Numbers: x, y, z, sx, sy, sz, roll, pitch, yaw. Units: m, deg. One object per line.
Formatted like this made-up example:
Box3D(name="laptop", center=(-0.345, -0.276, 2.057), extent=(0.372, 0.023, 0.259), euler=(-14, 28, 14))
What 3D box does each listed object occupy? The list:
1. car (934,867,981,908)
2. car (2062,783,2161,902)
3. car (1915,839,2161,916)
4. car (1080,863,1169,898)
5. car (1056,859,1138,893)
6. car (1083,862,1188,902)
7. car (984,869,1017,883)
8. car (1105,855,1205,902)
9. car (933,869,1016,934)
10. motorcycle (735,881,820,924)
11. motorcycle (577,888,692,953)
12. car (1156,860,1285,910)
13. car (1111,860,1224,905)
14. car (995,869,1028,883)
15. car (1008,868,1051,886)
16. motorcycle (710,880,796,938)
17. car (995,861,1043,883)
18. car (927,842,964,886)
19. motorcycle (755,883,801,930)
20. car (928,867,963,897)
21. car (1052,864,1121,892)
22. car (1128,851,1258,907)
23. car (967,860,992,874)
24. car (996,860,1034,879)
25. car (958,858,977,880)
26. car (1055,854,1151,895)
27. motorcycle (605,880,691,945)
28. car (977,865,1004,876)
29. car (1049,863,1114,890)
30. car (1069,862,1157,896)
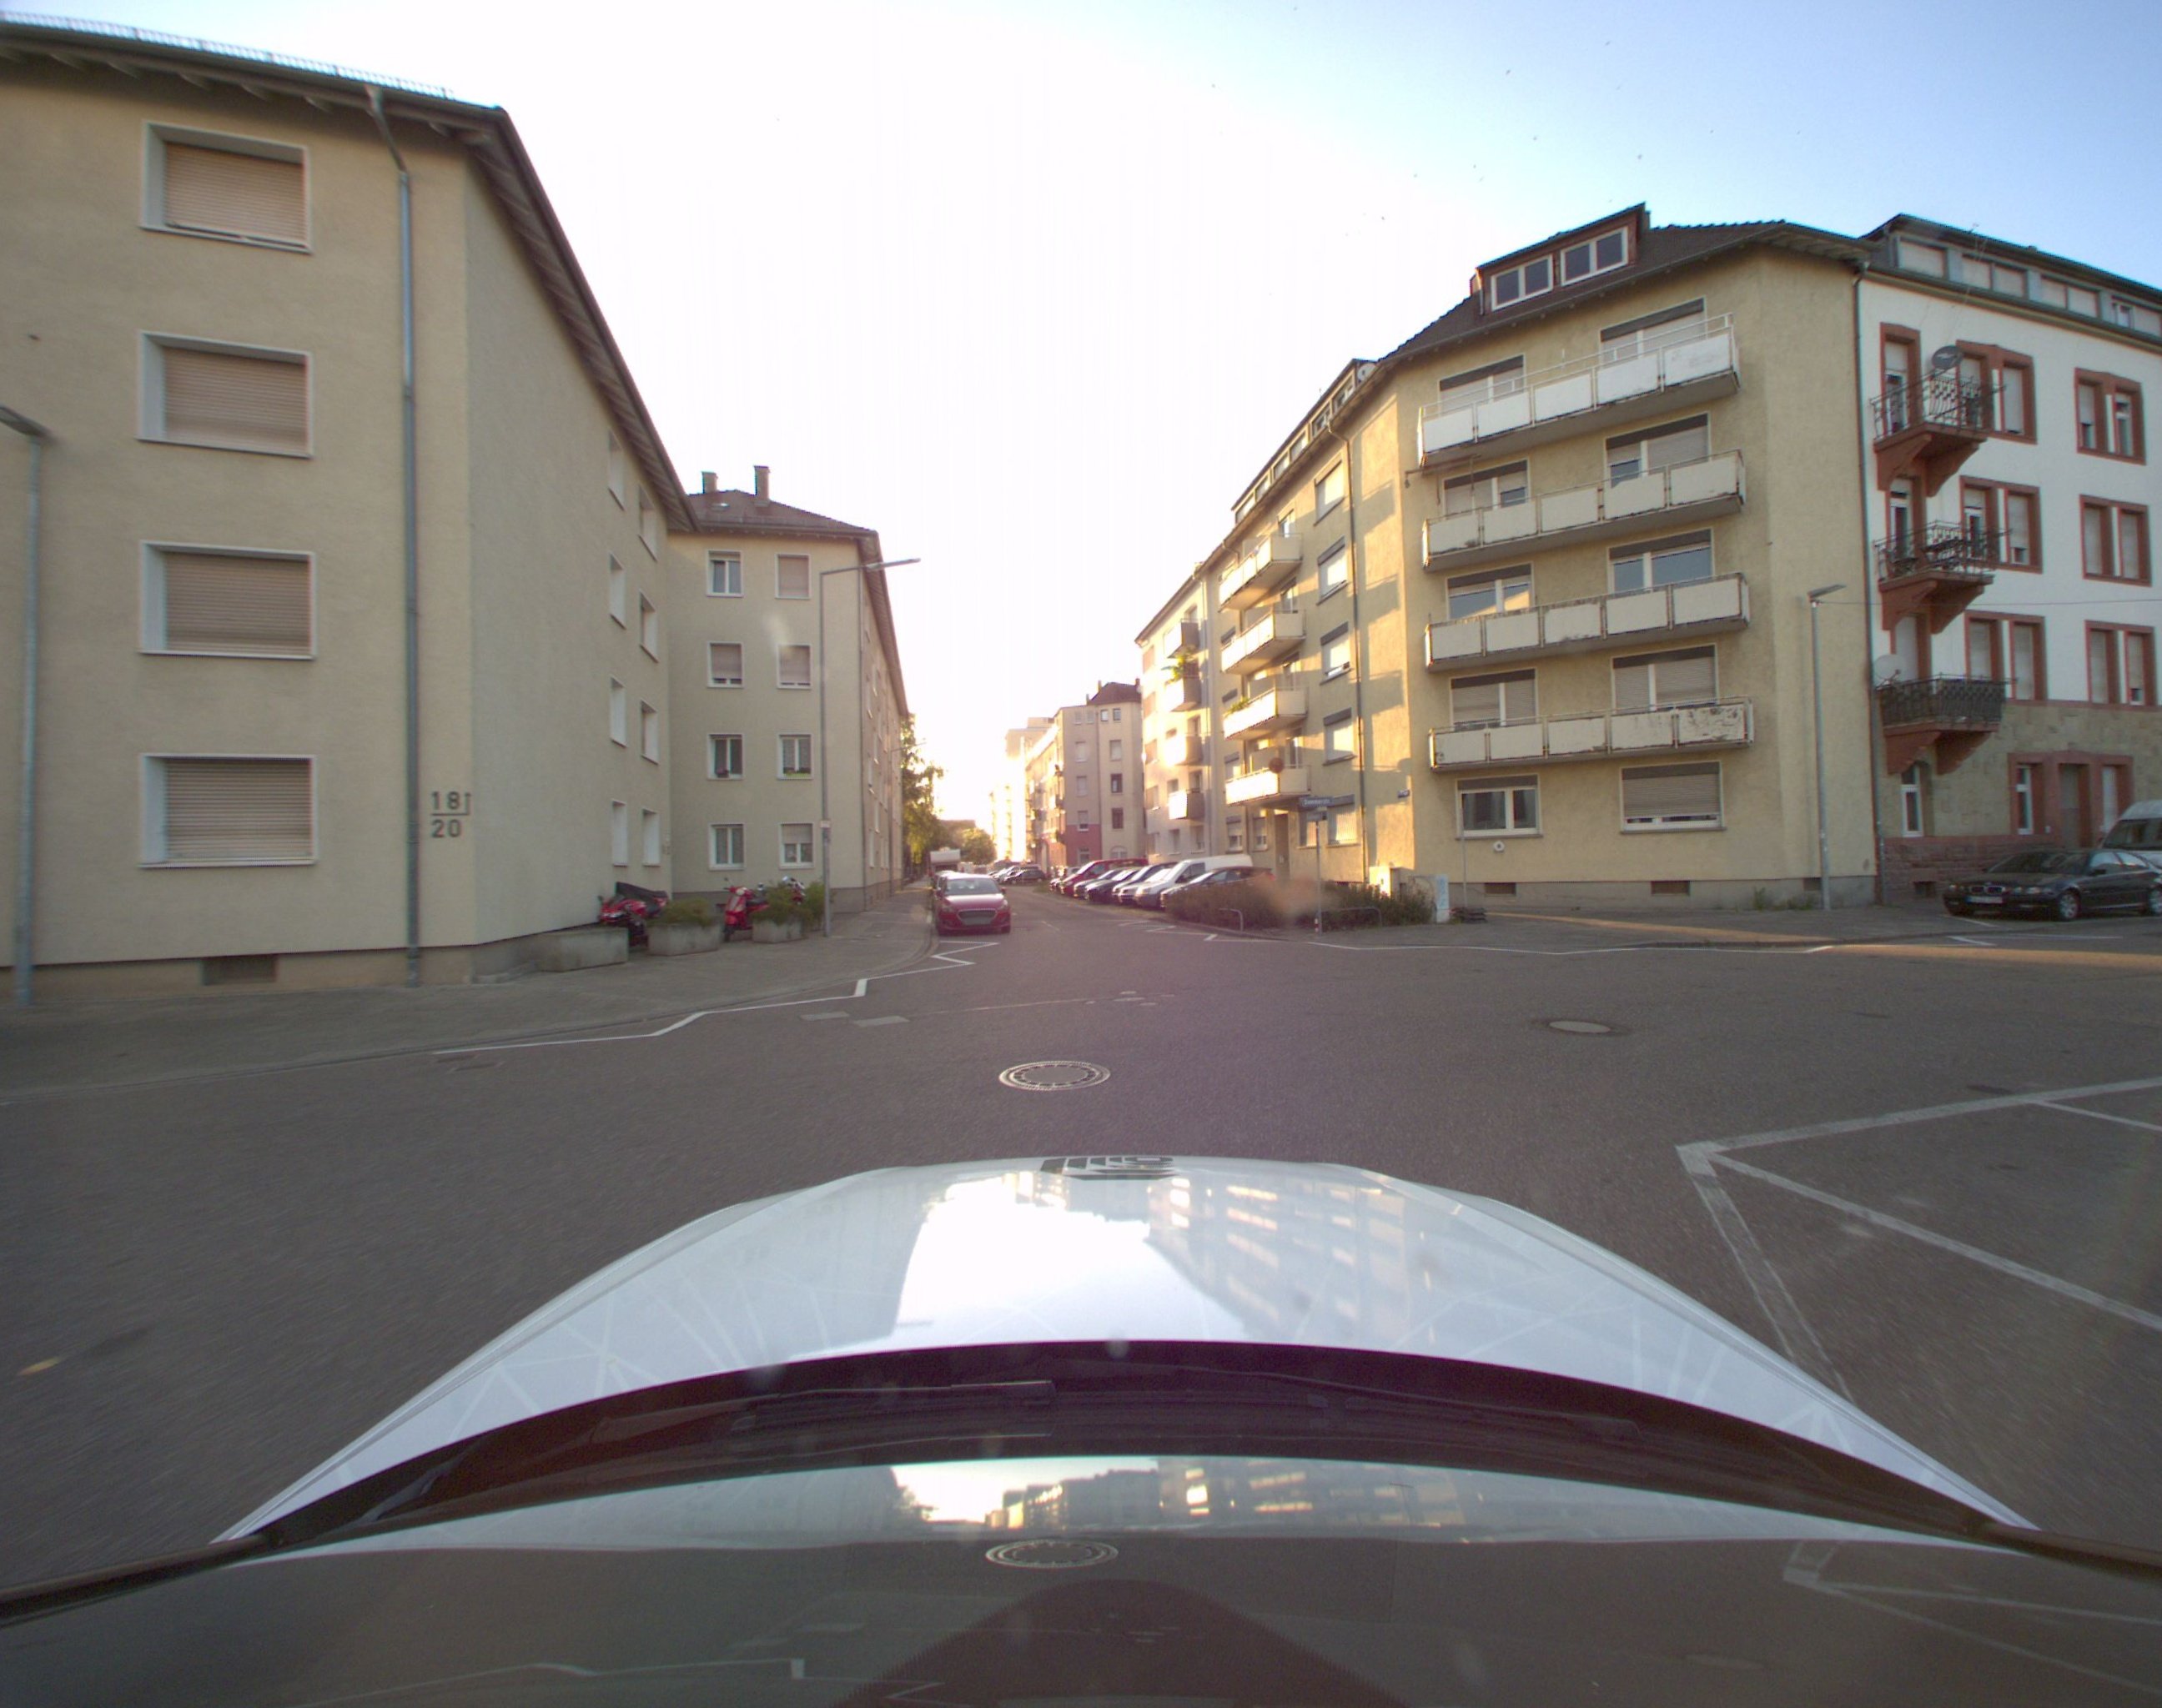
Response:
Box3D(name="car", center=(-5.000, 1.319, 32.605), extent=(1.617, 1.473, 3.490), euler=(-3, -1, -12))
Box3D(name="car", center=(25.797, -0.315, 18.468), extent=(6.026, 2.530, 2.221), euler=(-1, 1, -15))
Box3D(name="car", center=(19.837, 0.426, 16.791), extent=(3.993, 1.371, 1.990), euler=(-1, 1, -15))
Box3D(name="car", center=(2.052, 1.258, 38.739), extent=(3.878, 1.416, 1.629), euler=(-3, -1, -13))
Box3D(name="car", center=(0.895, 1.236, 46.488), extent=(4.326, 1.637, 1.811), euler=(-3, -1, -12))
Box3D(name="car", center=(2.372, 1.228, 35.805), extent=(4.310, 1.450, 1.649), euler=(-3, -1, -11))
Box3D(name="car", center=(-10.411, 2.848, 105.336), extent=(3.989, 1.530, 1.652), euler=(-3, -1, -11))
Box3D(name="car", center=(3.041, 1.012, 33.812), extent=(3.792, 1.695, 1.649), euler=(-3, -1, -11))
Box3D(name="car", center=(-2.881, 1.175, 21.388), extent=(1.846, 1.473, 4.061), euler=(-2, -1, -12))
Box3D(name="motorcycle", center=(-8.374, 1.325, 22.518), extent=(2.116, 1.105, 0.560), euler=(-2, -1, 1))
Box3D(name="motorcycle", center=(-8.377, 1.224, 15.405), extent=(0.719, 1.079, 2.087), euler=(-2, -1, 11))
Box3D(name="car", center=(4.632, 1.029, 27.307), extent=(3.873, 1.492, 1.735), euler=(-2, -1, -11))
Box3D(name="car", center=(3.306, 1.087, 31.398), extent=(3.956, 1.522, 1.700), euler=(-2, -1, -11))
Box3D(name="car", center=(-8.832, 2.743, 103.139), extent=(3.989, 1.530, 1.652), euler=(-3, -1, -11))
Box3D(name="car", center=(-5.061, 2.216, 79.365), extent=(3.989, 1.530, 1.652), euler=(-3, -1, -11))
Box3D(name="motorcycle", center=(-7.257, 1.190, 18.119), extent=(0.683, 1.160, 2.041), euler=(-2, -1, 14))
Box3D(name="car", center=(-6.538, 1.888, 86.106), extent=(4.816, 1.968, 1.732), euler=(-3, -1, -11))
Box3D(name="car", center=(-10.944, 0.843, 65.834), extent=(2.620, 3.269, 7.669), euler=(-3, -1, -10))
Box3D(name="motorcycle", center=(-7.580, 1.289, 20.445), extent=(0.682, 1.079, 2.028), euler=(-1, -1, -9))
Box3D(name="car", center=(-7.324, 1.484, 43.773), extent=(1.654, 1.435, 3.780), euler=(-3, -1, -12))
Box3D(name="car", center=(0.300, 1.442, 48.873), extent=(3.814, 1.428, 1.628), euler=(-3, -1, -12))
Box3D(name="car", center=(4.009, 0.894, 29.476), extent=(4.280, 1.860, 1.735), euler=(-1, -2, -11))
Box3D(name="car", center=(-20.009, 2.604, 160.659), extent=(4.816, 2.408, 1.732), euler=(-3, -1, -11))
Box3D(name="car", center=(-7.522, 1.766, 92.074), extent=(3.993, 2.014, 1.990), euler=(-2, -1, -14))
Box3D(name="car", center=(-15.049, 2.009, 107.694), extent=(2.130, 2.717, 4.813), euler=(-3, -1, -12))
Box3D(name="car", center=(1.167, 1.092, 43.664), extent=(4.725, 1.909, 2.051), euler=(-3, -1, -12))
Box3D(name="motorcycle", center=(-9.246, 1.210, 17.496), extent=(0.721, 1.265, 2.080), euler=(-1, -1, 0))
Box3D(name="car", center=(-14.175, 2.646, 127.679), extent=(3.989, 1.530, 1.652), euler=(-3, -1, -11))
Box3D(name="car", center=(0.009, 1.424, 51.375), extent=(3.814, 1.428, 1.628), euler=(-3, -1, -12))
Box3D(name="car", center=(1.587, 1.261, 41.127), extent=(4.147, 1.471, 1.630), euler=(-3, -1, -12))
